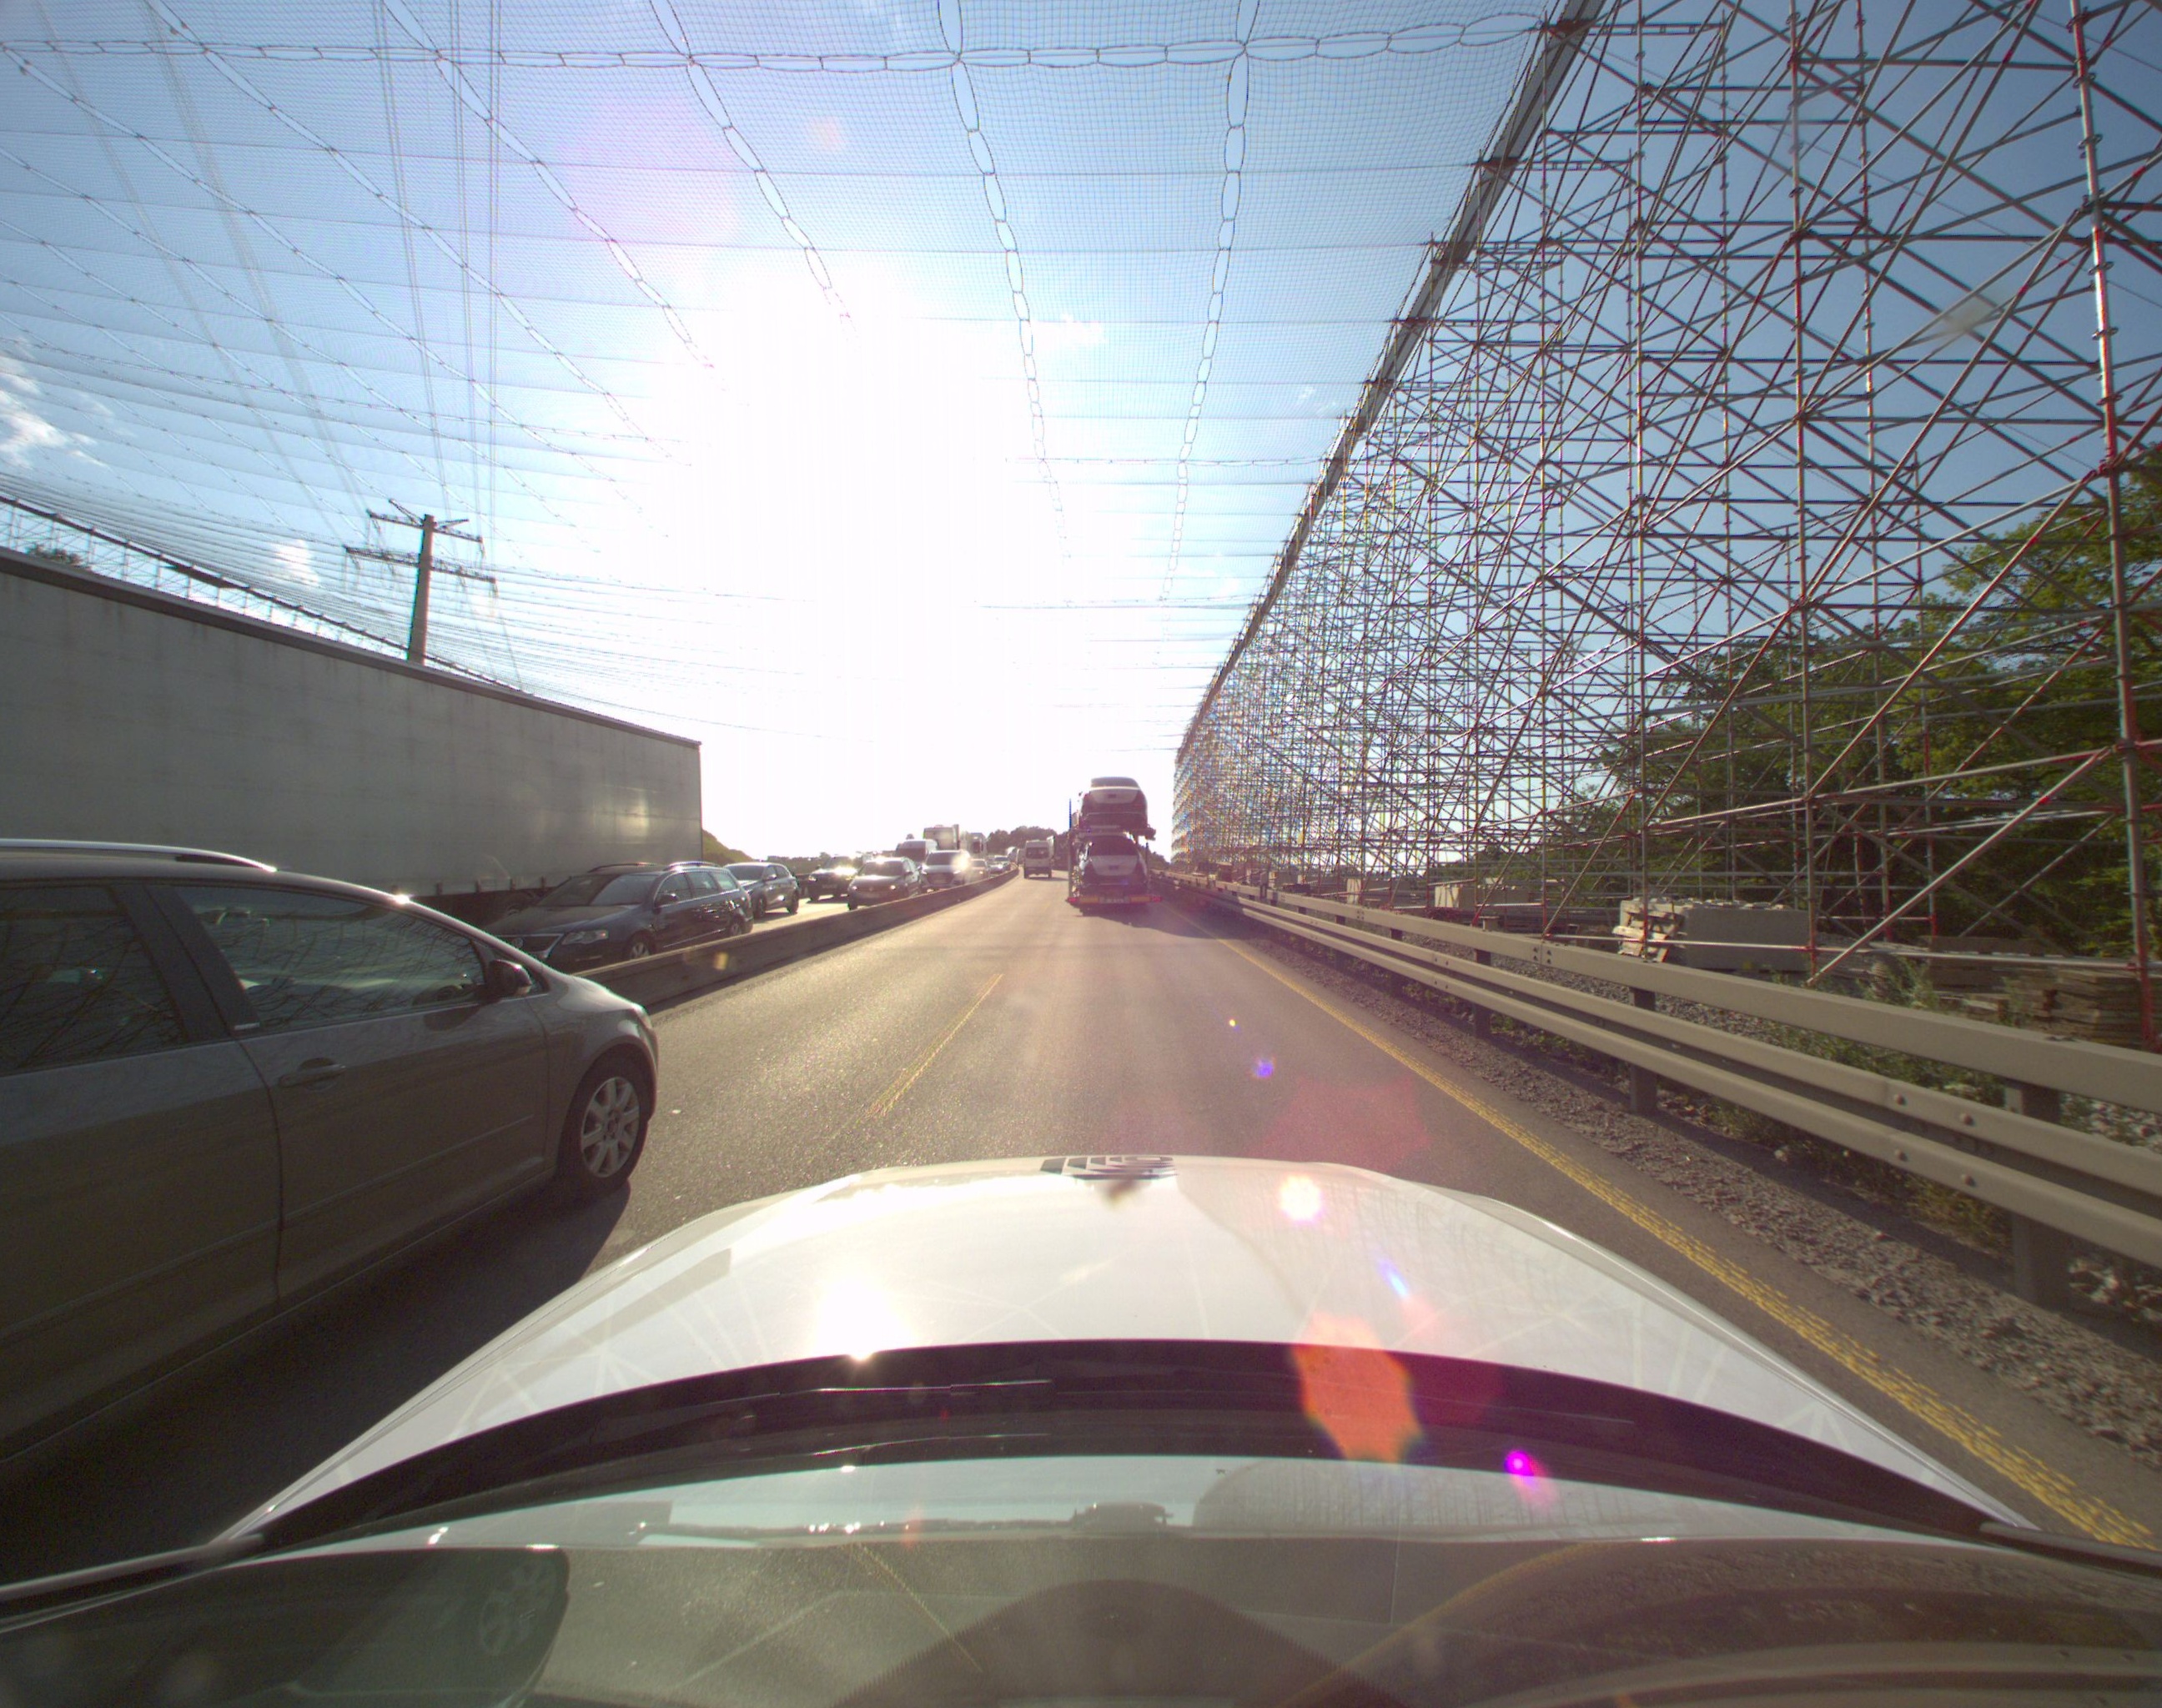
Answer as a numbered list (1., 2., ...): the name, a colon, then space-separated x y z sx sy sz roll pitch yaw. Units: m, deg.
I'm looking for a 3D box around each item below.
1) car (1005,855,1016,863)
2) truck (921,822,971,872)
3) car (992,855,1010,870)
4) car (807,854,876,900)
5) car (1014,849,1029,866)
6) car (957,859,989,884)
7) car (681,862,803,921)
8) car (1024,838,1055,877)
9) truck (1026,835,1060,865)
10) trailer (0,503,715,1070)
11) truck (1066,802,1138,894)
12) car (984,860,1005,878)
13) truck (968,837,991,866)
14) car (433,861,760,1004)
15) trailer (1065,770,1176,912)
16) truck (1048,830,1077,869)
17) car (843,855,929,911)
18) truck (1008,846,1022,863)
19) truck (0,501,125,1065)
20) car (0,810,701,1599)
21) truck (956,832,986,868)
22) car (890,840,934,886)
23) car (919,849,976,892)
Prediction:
1. car: -13.381 0.952 154.844 1.706 1.618 3.501 -1 -1 -1
2. truck: -10.238 -0.450 62.892 2.589 3.473 12.375 0 0 -4
3. car: -7.960 0.791 80.926 1.700 1.453 3.990 0 0 -7
4. car: -9.295 0.850 31.883 1.675 1.684 3.996 0 0 -2
5. car: -9.055 0.498 123.221 1.992 2.578 3.989 0 0 -8
6. car: -6.584 1.024 49.894 1.834 1.453 3.991 0 0 -6
7. car: -9.207 0.965 22.454 1.659 1.441 3.852 0 0 1
8. car: -2.948 0.292 58.482 1.950 2.621 4.000 -2 -1 0
9. truck: -6.308 -0.523 132.323 3.688 4.221 13.620 -4 0 -10
10. trailer: -9.334 -0.492 10.666 2.644 4.233 13.919 0 0 1
11. truck: 0.844 -0.185 36.911 2.873 3.702 7.322 -1 -1 -1
12. car: -7.128 1.205 66.870 1.700 1.453 3.990 0 0 -7
13. truck: -13.137 -0.280 105.939 2.591 3.473 12.367 0 0 -5
14. car: -6.185 0.883 11.146 1.735 1.543 4.407 0 0 1
15. trailer: 0.949 -0.252 29.055 2.860 3.725 14.939 -1 -1 -1
16. truck: -2.326 -0.529 98.296 2.728 4.385 11.498 0 0 -5
17. car: -6.110 0.855 25.954 1.689 1.629 4.001 0 0 1
18. truck: -15.174 0.095 185.765 2.615 3.723 9.630 0 0 -8
19. truck: -9.415 -0.534 3.807 2.654 4.230 6.103 -1 -1 0
20. car: -2.985 0.718 2.452 1.677 1.574 4.100 -1 -1 1
21. truck: -11.408 -0.396 84.939 2.591 3.473 12.367 0 0 -5
22. car: -9.700 0.512 47.116 1.990 2.541 3.994 0 0 -5
23. car: -6.064 0.723 37.411 1.830 1.893 4.001 0 0 1
